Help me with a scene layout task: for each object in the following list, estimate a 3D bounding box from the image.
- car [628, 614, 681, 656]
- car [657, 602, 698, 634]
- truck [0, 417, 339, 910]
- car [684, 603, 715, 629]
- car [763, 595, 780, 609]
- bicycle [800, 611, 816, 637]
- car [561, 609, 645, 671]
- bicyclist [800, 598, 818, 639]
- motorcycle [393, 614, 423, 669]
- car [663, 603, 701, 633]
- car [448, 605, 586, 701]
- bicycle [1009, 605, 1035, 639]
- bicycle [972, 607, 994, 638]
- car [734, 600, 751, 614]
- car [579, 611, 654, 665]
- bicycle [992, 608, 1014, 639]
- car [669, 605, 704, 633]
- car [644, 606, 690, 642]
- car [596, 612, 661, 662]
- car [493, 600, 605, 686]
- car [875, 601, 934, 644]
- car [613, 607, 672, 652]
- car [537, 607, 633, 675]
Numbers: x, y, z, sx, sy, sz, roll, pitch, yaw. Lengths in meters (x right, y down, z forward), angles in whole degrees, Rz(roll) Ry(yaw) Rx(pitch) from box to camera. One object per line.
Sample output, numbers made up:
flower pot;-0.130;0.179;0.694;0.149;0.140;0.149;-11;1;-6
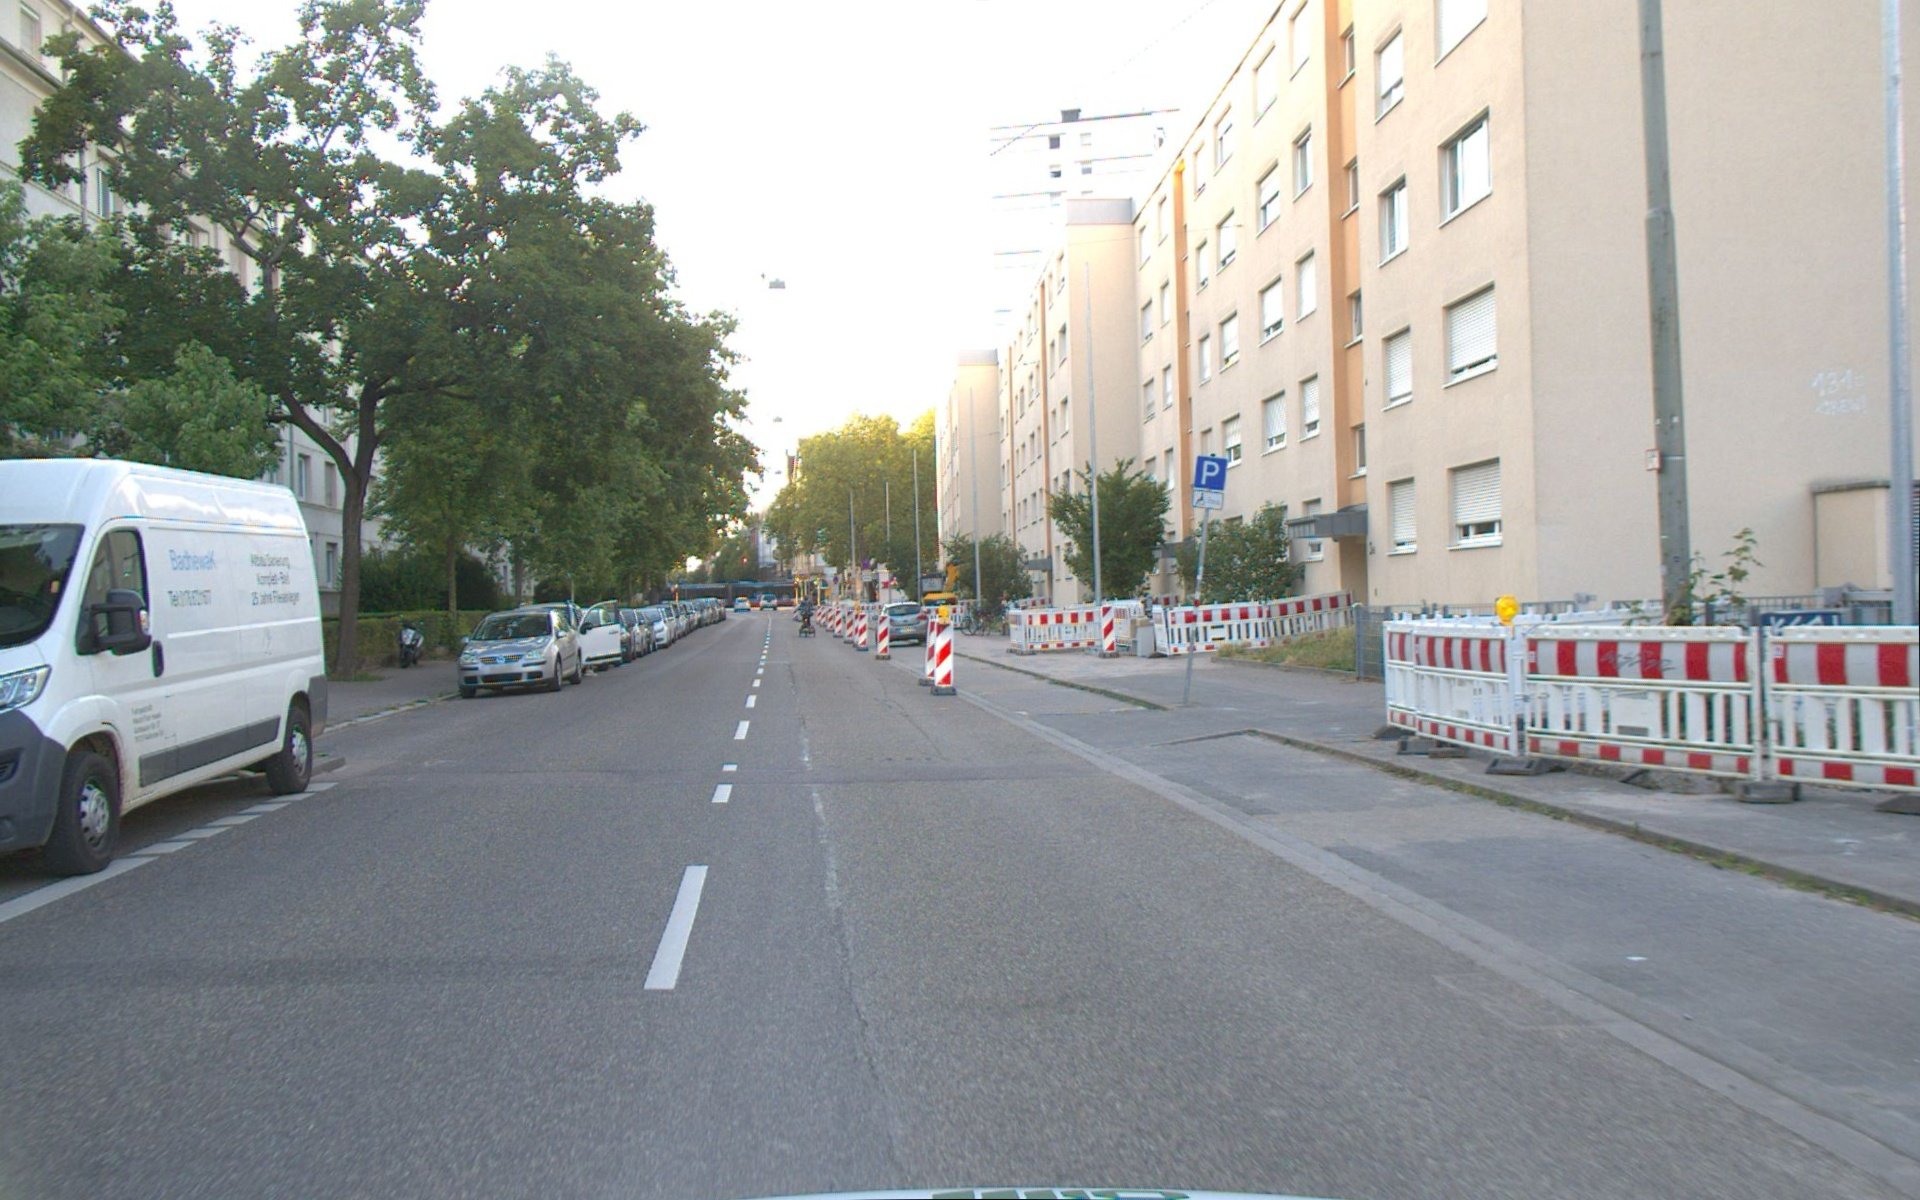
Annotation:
car;-12.069;1.346;65.500;1.723;1.468;3.449;-4;0;-6
car;-14.399;0.889;84.304;1.723;1.468;3.449;-4;0;-6
truck;-6.109;0.376;11.172;2.061;2.465;6.037;-3;0;-7
car;-16.140;1.001;102.596;1.621;1.468;3.449;-4;0;-6
car;-21.899;0.238;191.763;1.664;1.468;3.446;-4;0;-10
bicycle;-6.847;1.057;74.419;0.629;1.134;3.051;-2;0;-6
car;-9.708;1.060;45.225;1.723;1.468;3.922;-4;0;-6
bicyclist;-6.875;0.834;75.176;0.776;1.831;1.016;-2;0;-6
motorcycle;-14.028;1.048;42.046;0.404;1.355;1.295;-2;0;-6
car;-15.306;0.968;91.089;1.723;1.468;3.449;-4;0;-6
car;-8.019;0.910;30.267;1.723;1.509;3.922;-4;0;-6
bicycle;2.138;0.738;57.235;0.605;1.126;2.233;-2;0;-4
bicycle;0.877;0.847;63.514;0.605;1.126;2.233;-2;0;-4
car;-23.974;0.772;182.460;1.724;1.468;3.447;-4;0;-8
car;-10.403;1.123;50.335;1.744;1.448;3.741;-5;0;-6
bicycle;1.629;0.893;63.069;0.605;1.126;2.233;-2;0;-4
car;-16.096;1.096;97.534;1.723;1.468;3.449;-4;0;-6
car;-13.452;1.081;76.111;1.723;1.468;3.449;-4;0;-6
car;-11.010;1.216;55.097;1.723;1.468;3.449;-4;0;-6
car;-8.913;0.889;36.135;1.723;1.631;3.922;-4;0;-6
car;-1.975;0.766;58.047;1.745;1.414;3.995;-2;0;-6
car;-11.550;1.046;60.398;1.723;1.468;3.449;-4;0;-6
car;-9.150;0.963;40.614;1.723;1.468;3.922;-4;0;-6
